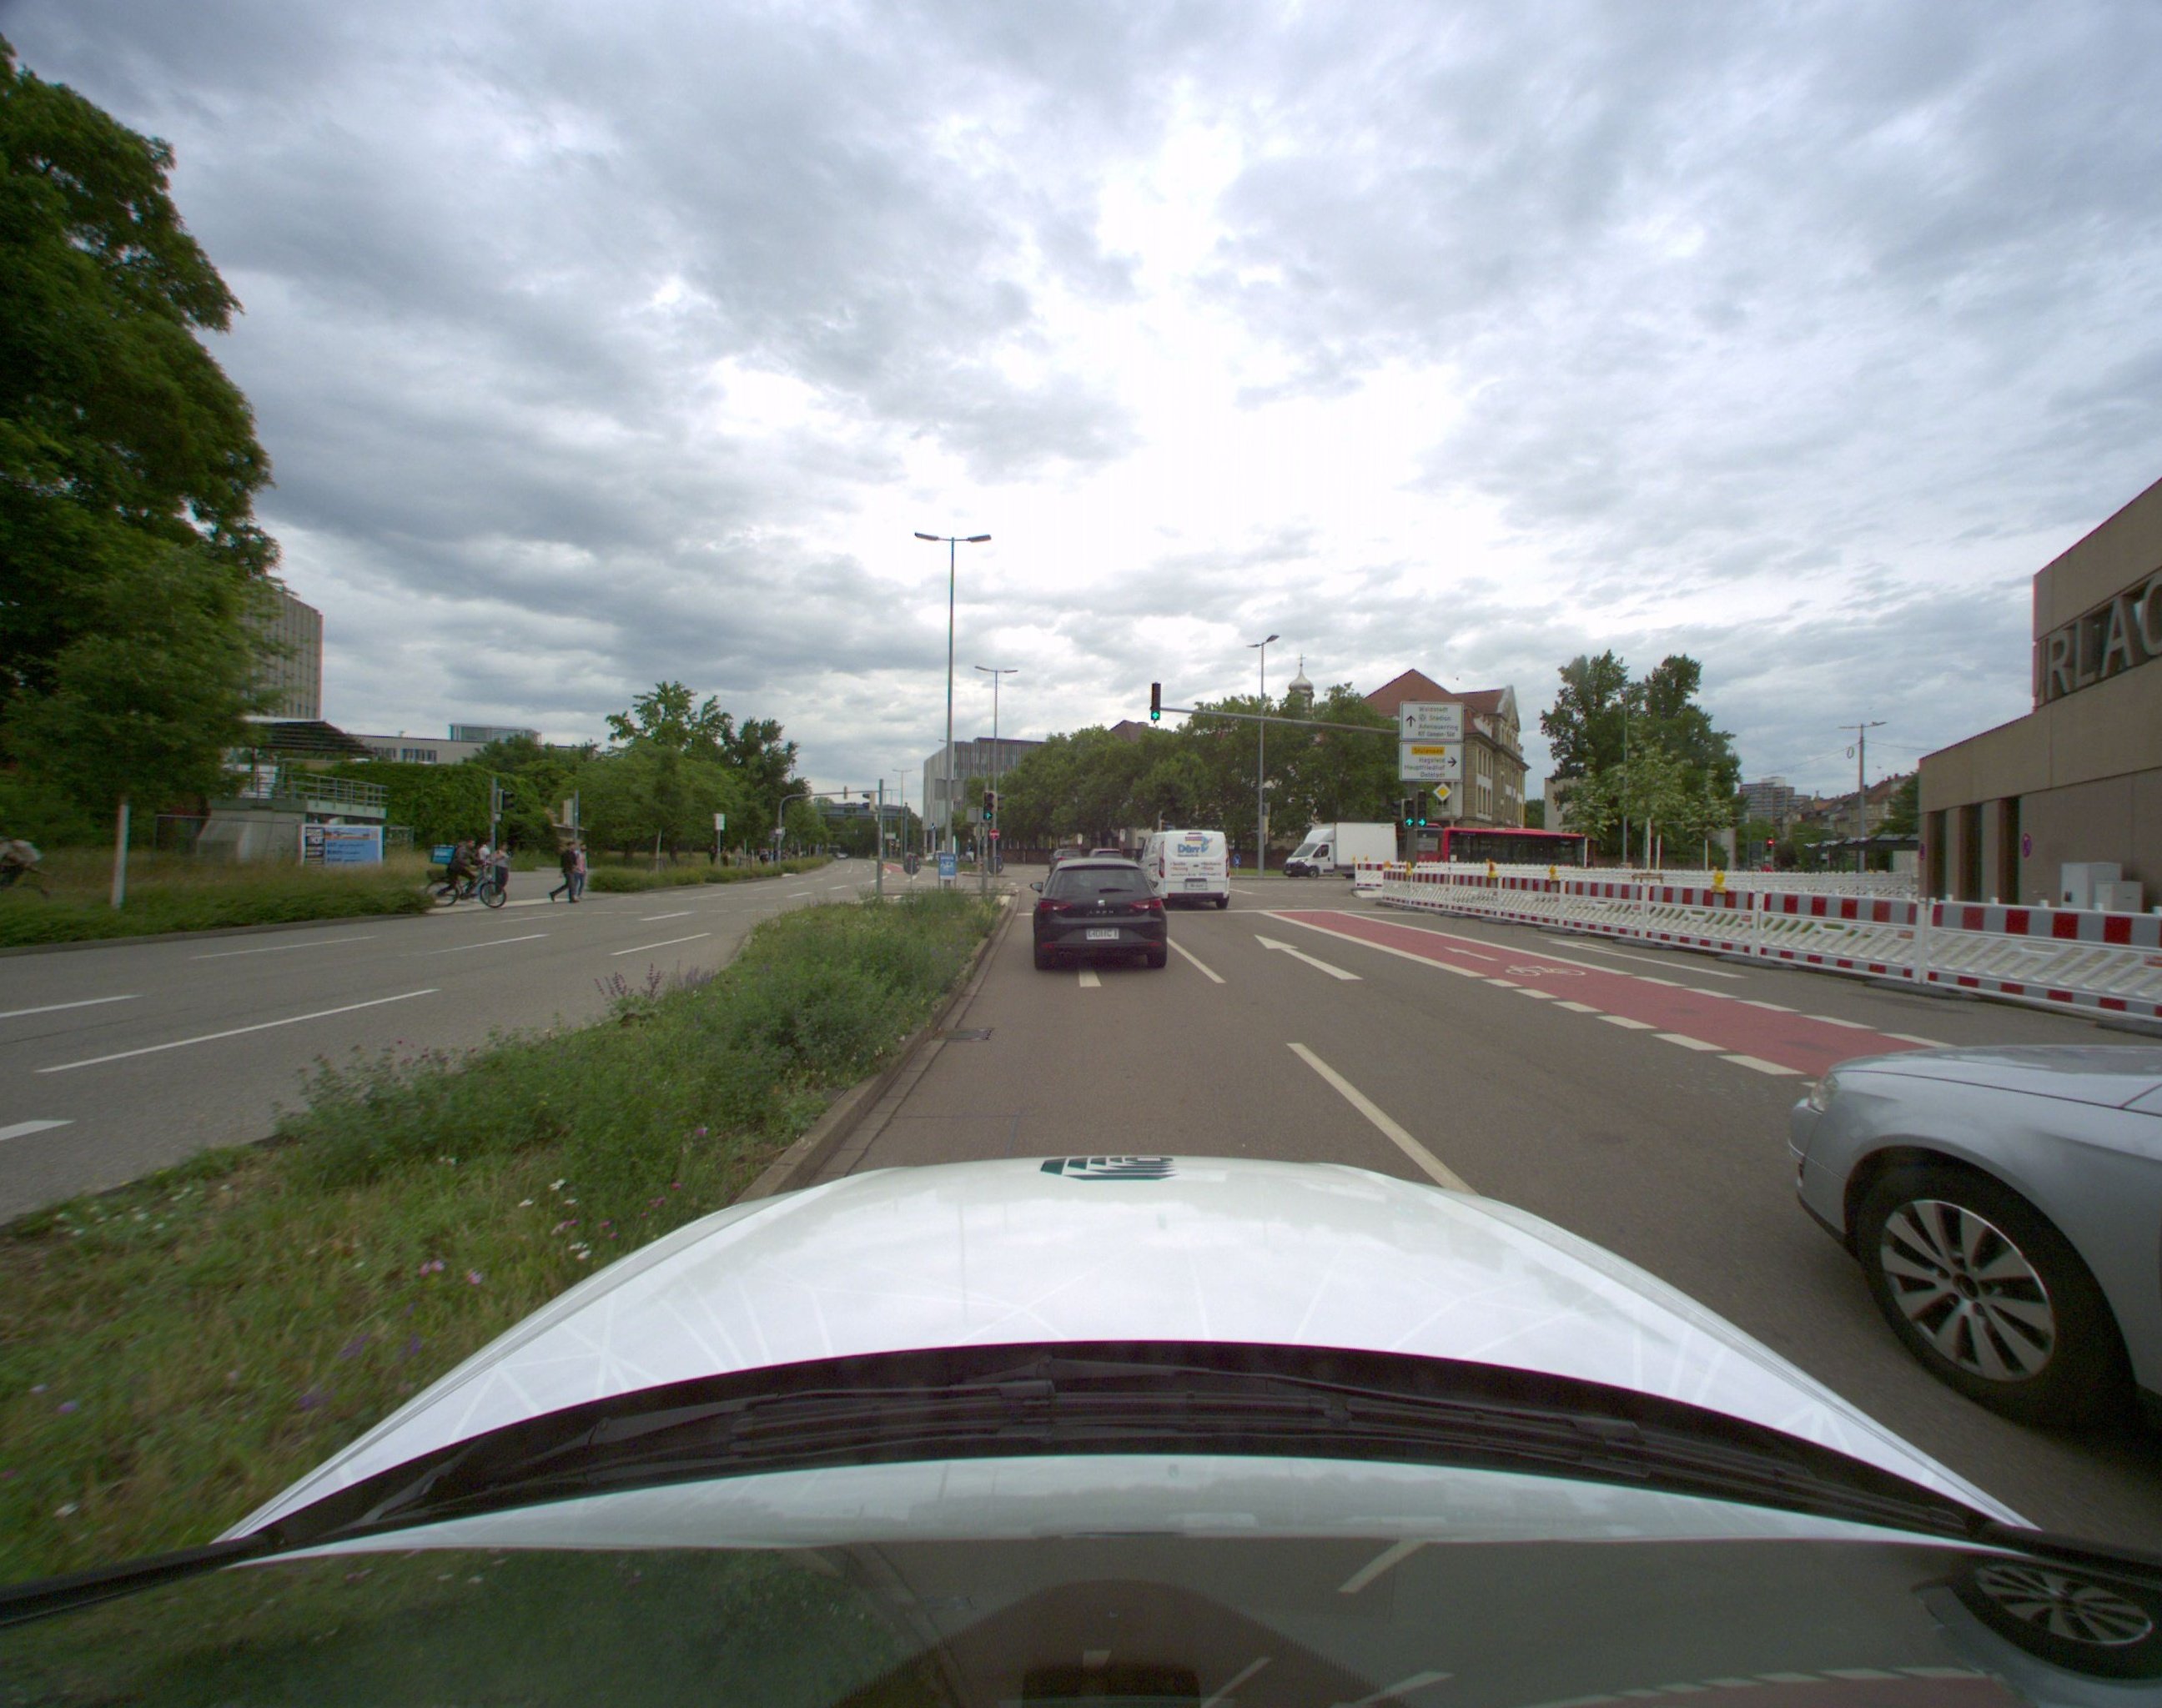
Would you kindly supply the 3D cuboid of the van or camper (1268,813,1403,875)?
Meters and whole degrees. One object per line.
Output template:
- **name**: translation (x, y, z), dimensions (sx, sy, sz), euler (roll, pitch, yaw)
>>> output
- **van or camper**: translation (14.598, -0.509, 46.786), dimensions (7.152, 3.332, 2.857), euler (0, -1, -20)

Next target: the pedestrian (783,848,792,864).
- **pedestrian**: translation (-34.410, 0.218, 95.463), dimensions (0.920, 1.778, 1.059), euler (0, 5, -15)

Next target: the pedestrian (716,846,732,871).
- **pedestrian**: translation (-25.360, 0.309, 57.937), dimensions (0.754, 1.712, 1.044), euler (0, 0, -7)

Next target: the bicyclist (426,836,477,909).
- **bicyclist**: translation (-16.295, 0.477, 21.098), dimensions (0.834, 1.844, 0.787), euler (0, 0, -20)

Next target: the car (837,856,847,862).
- **car**: translation (-57.009, 1.153, 194.215), dimensions (1.694, 1.416, 3.616), euler (1, 0, -23)

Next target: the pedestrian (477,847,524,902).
- **pedestrian**: translation (-17.737, 0.606, 24.905), dimensions (0.838, 1.649, 0.806), euler (0, 0, 2)

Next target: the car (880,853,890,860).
- **car**: translation (-39.820, 0.524, 165.296), dimensions (1.716, 1.265, 3.319), euler (1, 0, -18)

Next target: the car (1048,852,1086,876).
- **car**: translation (-1.027, 0.669, 56.895), dimensions (1.994, 1.566, 4.190), euler (0, 0, -11)

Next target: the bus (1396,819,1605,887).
- **bus**: translation (22.617, 0.010, 43.618), dimensions (12.398, 3.298, 3.043), euler (1, 0, -25)

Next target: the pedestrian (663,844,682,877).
- **pedestrian**: translation (-25.668, 0.412, 51.227), dimensions (0.754, 2.013, 1.044), euler (0, 0, -7)

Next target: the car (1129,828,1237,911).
- **car**: translation (2.621, 0.372, 22.237), dimensions (1.990, 2.019, 5.024), euler (0, 0, -4)

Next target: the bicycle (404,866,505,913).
- **bicycle**: translation (-16.210, 0.901, 21.133), dimensions (1.907, 1.159, 0.786), euler (0, 0, -20)

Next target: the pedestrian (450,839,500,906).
- **pedestrian**: translation (-17.001, 0.507, 22.862), dimensions (0.754, 1.842, 0.767), euler (1, 0, 2)

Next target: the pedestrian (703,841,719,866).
- **pedestrian**: translation (-26.158, -0.038, 57.535), dimensions (0.754, 1.765, 0.904), euler (0, 0, -7)

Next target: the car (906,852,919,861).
- **car**: translation (-31.352, 0.442, 151.695), dimensions (1.999, 1.681, 3.987), euler (1, 0, -17)

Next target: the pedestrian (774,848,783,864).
- **pedestrian**: translation (-35.382, 0.209, 95.194), dimensions (0.920, 1.778, 1.059), euler (0, 4, -15)

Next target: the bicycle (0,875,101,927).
- **bicycle**: translation (-19.239, 0.841, 14.721), dimensions (0.712, 0.882, 1.884), euler (1, 0, 2)

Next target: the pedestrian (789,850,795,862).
- **pedestrian**: translation (-47.514, 0.335, 133.907), dimensions (0.722, 2.014, 0.779), euler (0, -1, -10)

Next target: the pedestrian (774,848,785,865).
- **pedestrian**: translation (-31.600, 0.265, 85.327), dimensions (0.920, 1.779, 1.059), euler (0, 0, -15)

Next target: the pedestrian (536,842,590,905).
- **pedestrian**: translation (-15.441, 0.576, 24.295), dimensions (1.044, 1.842, 0.866), euler (0, 0, 2)

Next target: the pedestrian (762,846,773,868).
- **pedestrian**: translation (-29.233, 0.287, 75.911), dimensions (0.755, 2.013, 1.043), euler (0, 0, -10)

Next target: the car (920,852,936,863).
- **car**: translation (-23.984, 0.556, 127.805), dimensions (1.999, 1.640, 3.975), euler (1, 0, -18)

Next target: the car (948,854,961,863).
- **car**: translation (-19.485, 0.733, 125.716), dimensions (1.529, 1.365, 2.952), euler (1, 0, -17)

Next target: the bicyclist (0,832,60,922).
- **bicyclist**: translation (-19.244, 0.403, 14.688), dimensions (0.712, 1.570, 0.712), euler (1, 0, 1)

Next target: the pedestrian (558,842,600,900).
- **pedestrian**: translation (-15.951, 0.530, 25.904), dimensions (0.889, 1.842, 0.668), euler (0, 0, 2)

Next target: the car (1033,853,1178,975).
- **car**: translation (0.211, 0.756, 11.829), dimensions (1.742, 1.464, 3.996), euler (0, -1, -3)

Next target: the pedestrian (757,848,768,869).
- **pedestrian**: translation (-27.840, 0.380, 71.217), dimensions (0.714, 1.870, 0.755), euler (0, 0, -10)

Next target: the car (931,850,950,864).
- **car**: translation (-20.129, 0.382, 116.349), dimensions (2.000, 2.013, 3.973), euler (1, 0, -20)

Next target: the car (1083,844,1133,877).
- **car**: translation (1.304, 0.322, 41.200), dimensions (1.856, 1.600, 4.194), euler (0, 0, -7)

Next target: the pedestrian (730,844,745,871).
- **pedestrian**: translation (-25.866, 0.290, 61.306), dimensions (0.754, 2.013, 1.044), euler (0, 0, -7)

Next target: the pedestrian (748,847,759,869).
- **pedestrian**: translation (-28.592, 0.357, 71.135), dimensions (0.714, 1.870, 0.755), euler (0, 0, -10)

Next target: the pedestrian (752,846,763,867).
- **pedestrian**: translation (-30.036, 0.226, 75.680), dimensions (0.755, 2.013, 1.043), euler (0, 0, -10)

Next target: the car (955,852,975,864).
- **car**: translation (-16.330, 0.586, 114.543), dimensions (1.924, 1.684, 3.972), euler (1, 0, -21)

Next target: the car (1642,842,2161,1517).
- **car**: translation (3.212, 0.709, 1.174), dimensions (1.714, 1.482, 4.630), euler (-1, 0, 1)
